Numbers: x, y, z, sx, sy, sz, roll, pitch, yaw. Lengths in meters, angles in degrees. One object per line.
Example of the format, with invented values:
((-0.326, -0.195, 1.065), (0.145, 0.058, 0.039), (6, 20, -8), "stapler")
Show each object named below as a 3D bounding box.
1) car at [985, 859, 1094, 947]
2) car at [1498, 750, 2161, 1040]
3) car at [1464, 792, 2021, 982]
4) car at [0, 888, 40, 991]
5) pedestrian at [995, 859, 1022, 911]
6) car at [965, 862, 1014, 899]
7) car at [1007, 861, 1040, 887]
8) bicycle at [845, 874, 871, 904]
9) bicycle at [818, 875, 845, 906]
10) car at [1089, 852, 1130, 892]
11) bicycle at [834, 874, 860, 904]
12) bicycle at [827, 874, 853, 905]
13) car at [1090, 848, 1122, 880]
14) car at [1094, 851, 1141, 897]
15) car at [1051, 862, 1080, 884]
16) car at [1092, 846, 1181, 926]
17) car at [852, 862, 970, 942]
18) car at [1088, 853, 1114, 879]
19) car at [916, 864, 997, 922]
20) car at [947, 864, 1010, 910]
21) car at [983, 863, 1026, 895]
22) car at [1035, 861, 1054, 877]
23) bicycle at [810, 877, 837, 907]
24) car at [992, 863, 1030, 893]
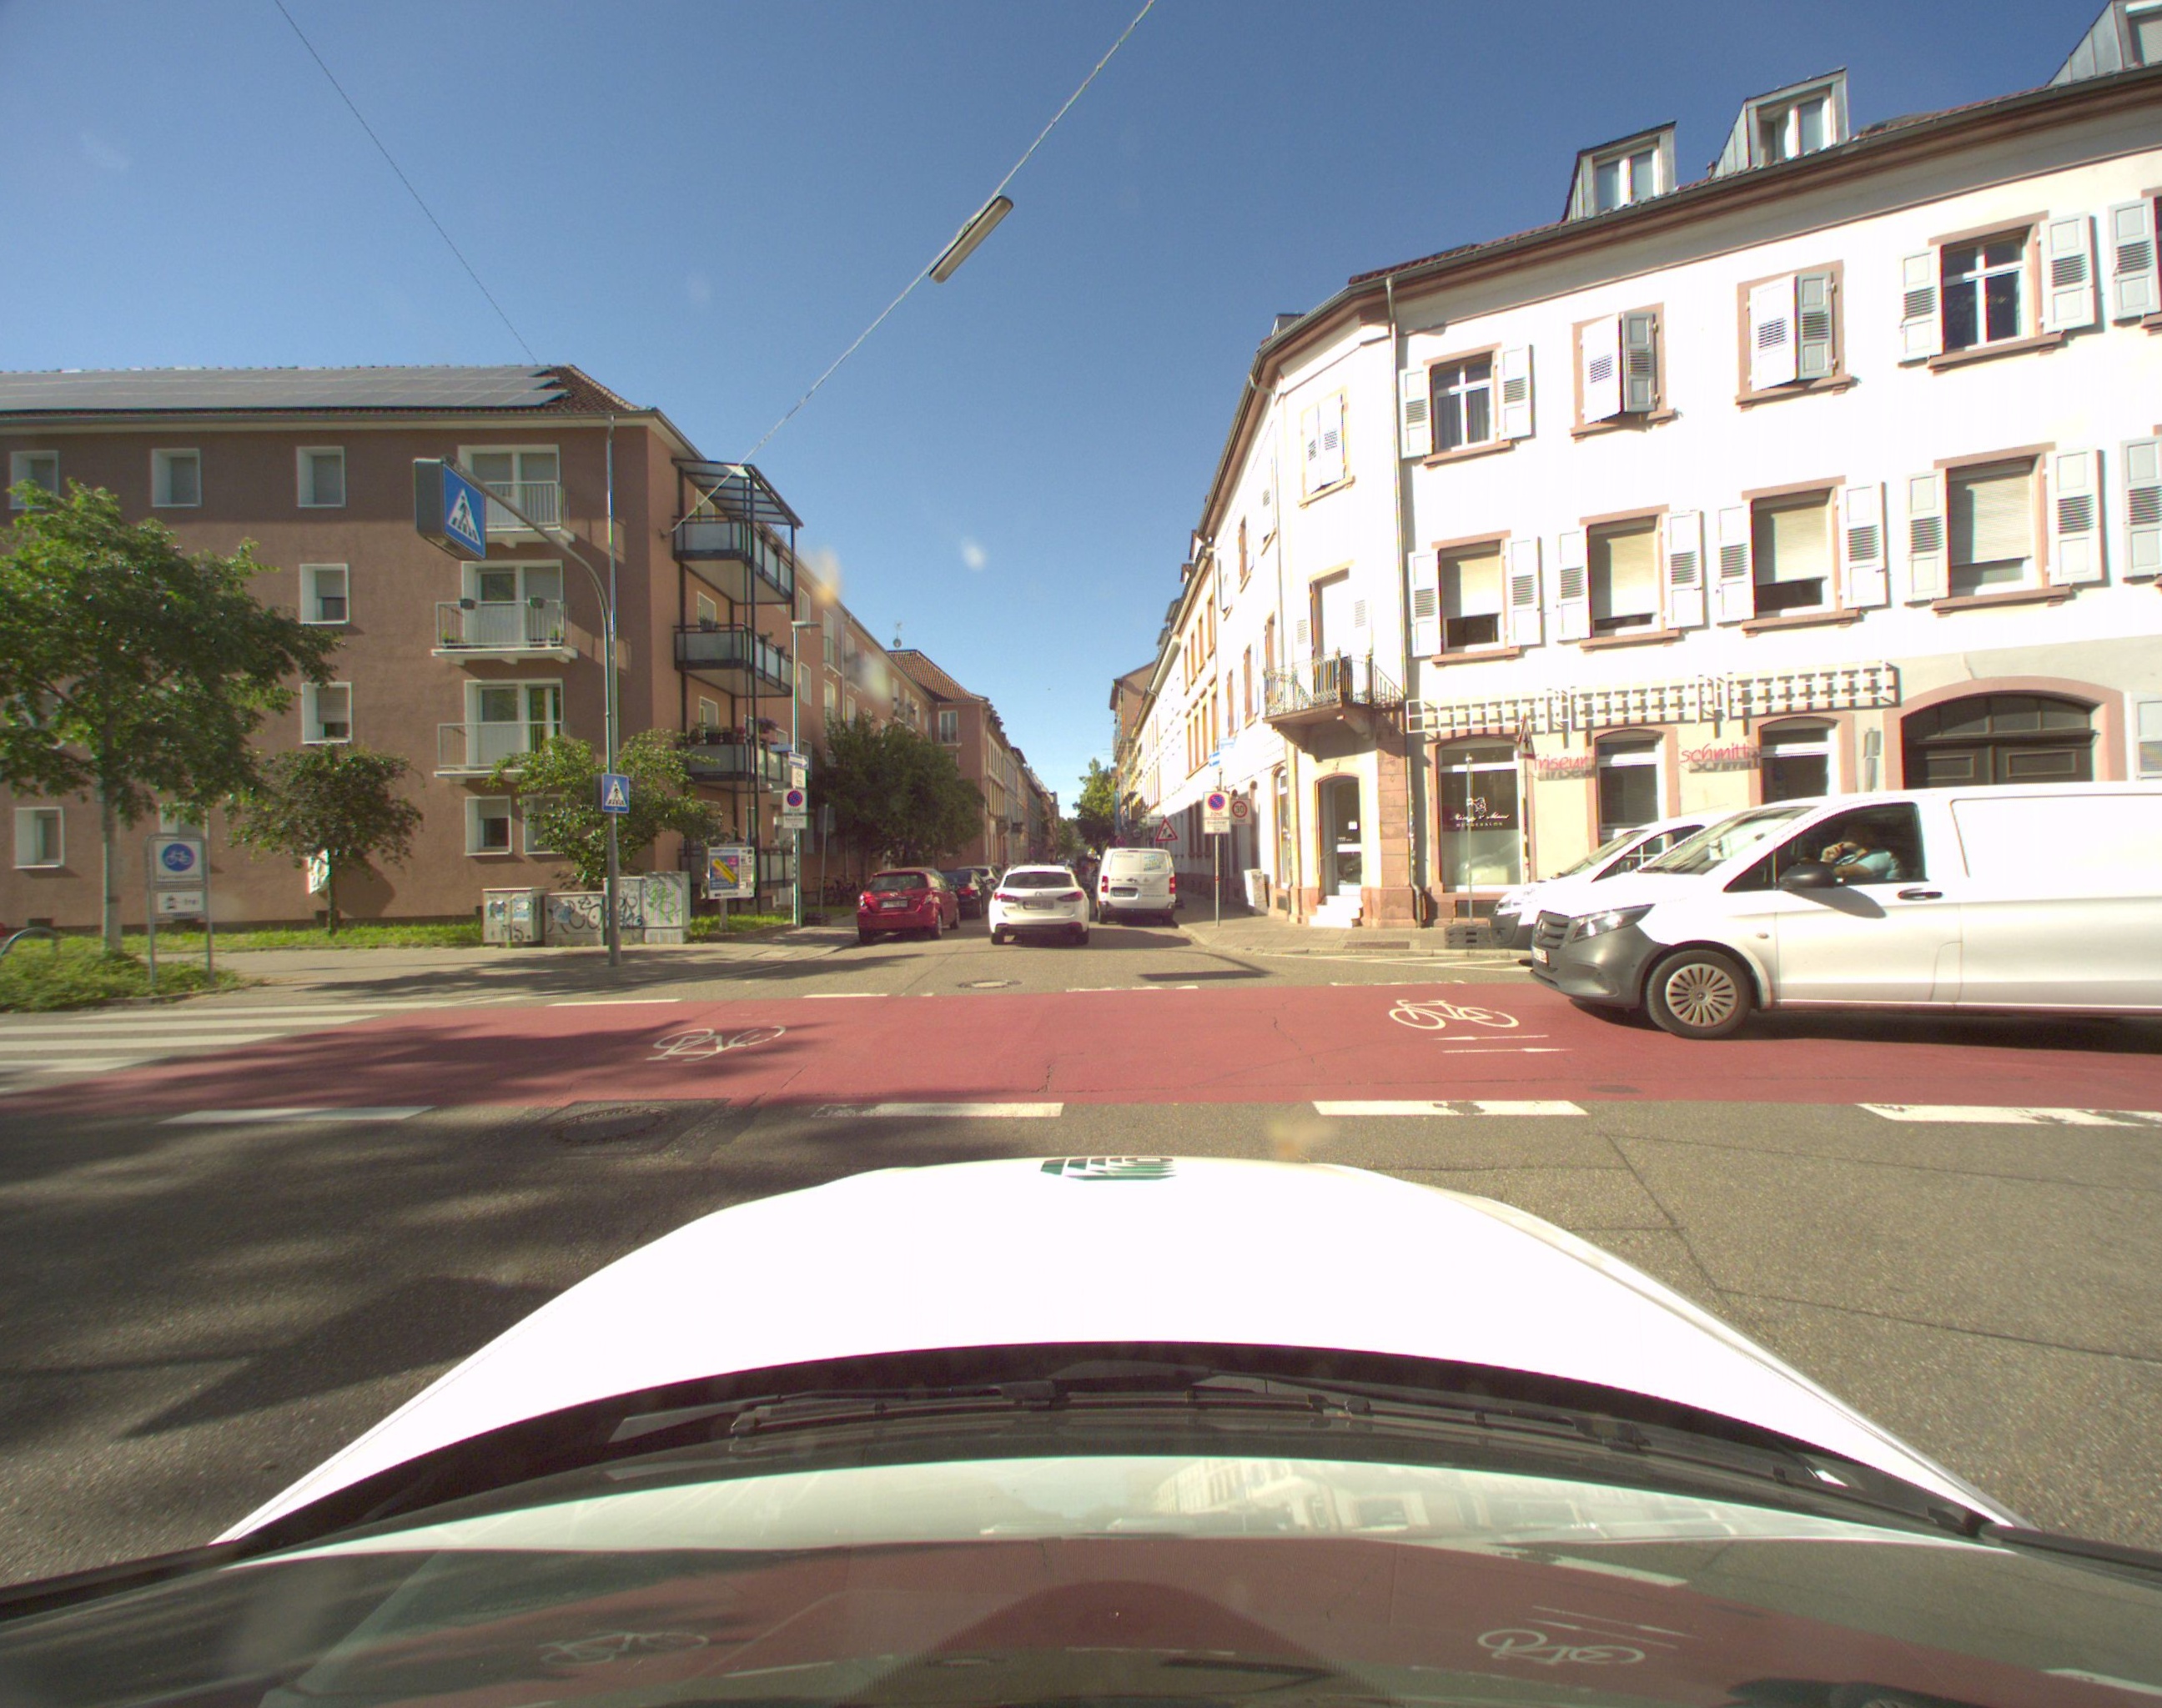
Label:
((-0.687, 0.904, 16.018), (1.824, 1.457, 3.962), (-1, -2, 1), "car")
((6.586, 0.288, 6.615), (5.365, 1.907, 2.117), (-1, -1, 16), "car")
((7.642, 0.400, 10.170), (4.967, 1.946, 2.061), (-2, -1, 20), "car")
((-17.505, 1.291, 11.167), (4.129, 1.454, 1.745), (-2, 0, -1), "car")
((-2.308, 0.979, 25.988), (0.733, 1.614, 0.813), (-2, -1, -11), "pedestrian")
((-3.989, 1.138, 35.968), (1.647, 1.500, 3.763), (-1, 0, 1), "car")
((-3.504, 1.211, 50.477), (1.647, 1.500, 3.763), (-1, 0, 1), "car")
((-8.076, 1.270, 29.449), (1.204, 1.071, 0.255), (-2, -1, 40), "bicycle")
((-8.852, 1.282, 28.882), (1.201, 1.072, 0.268), (-2, -1, 40), "bicycle")
((1.401, 0.850, 40.703), (1.888, 1.859, 3.995), (-1, 0, 1), "car")
((-8.432, 1.259, 29.375), (1.201, 1.071, 0.255), (-2, -1, 40), "bicycle")
((-8.630, 1.262, 29.134), (1.201, 1.071, 0.255), (-2, -1, 40), "bicycle")
((1.615, 0.638, 52.986), (1.888, 1.859, 3.996), (-4, -1, 1), "car")
((1.538, 0.837, 35.620), (1.888, 1.859, 3.995), (-1, 0, 1), "car")
((-1.049, 1.255, 55.872), (1.754, 1.410, 4.328), (-1, 0, 1), "car")
((1.346, 0.765, 21.681), (1.889, 1.859, 5.011), (1, 0, -1), "car")
((-3.668, 0.983, 18.207), (1.679, 1.500, 3.807), (-3, -1, 1), "car")
((1.546, 0.910, 62.883), (1.888, 1.859, 3.995), (-1, 0, 1), "car")
((-3.570, 1.083, 24.077), (1.647, 1.500, 4.080), (-1, 0, 1), "car")
((-3.600, 1.123, 29.201), (1.647, 1.500, 3.763), (-1, 0, 1), "car")
((-3.751, 1.203, 40.490), (1.647, 1.500, 3.763), (-1, 0, 1), "car")
((-3.628, 1.481, 81.490), (1.647, 1.500, 3.763), (-1, 0, 1), "car")
((-9.059, 1.317, 28.614), (1.201, 1.035, 0.293), (-2, -1, 40), "bicycle")
((-3.777, 1.280, 44.729), (1.647, 1.500, 3.763), (-1, 0, 1), "car")
